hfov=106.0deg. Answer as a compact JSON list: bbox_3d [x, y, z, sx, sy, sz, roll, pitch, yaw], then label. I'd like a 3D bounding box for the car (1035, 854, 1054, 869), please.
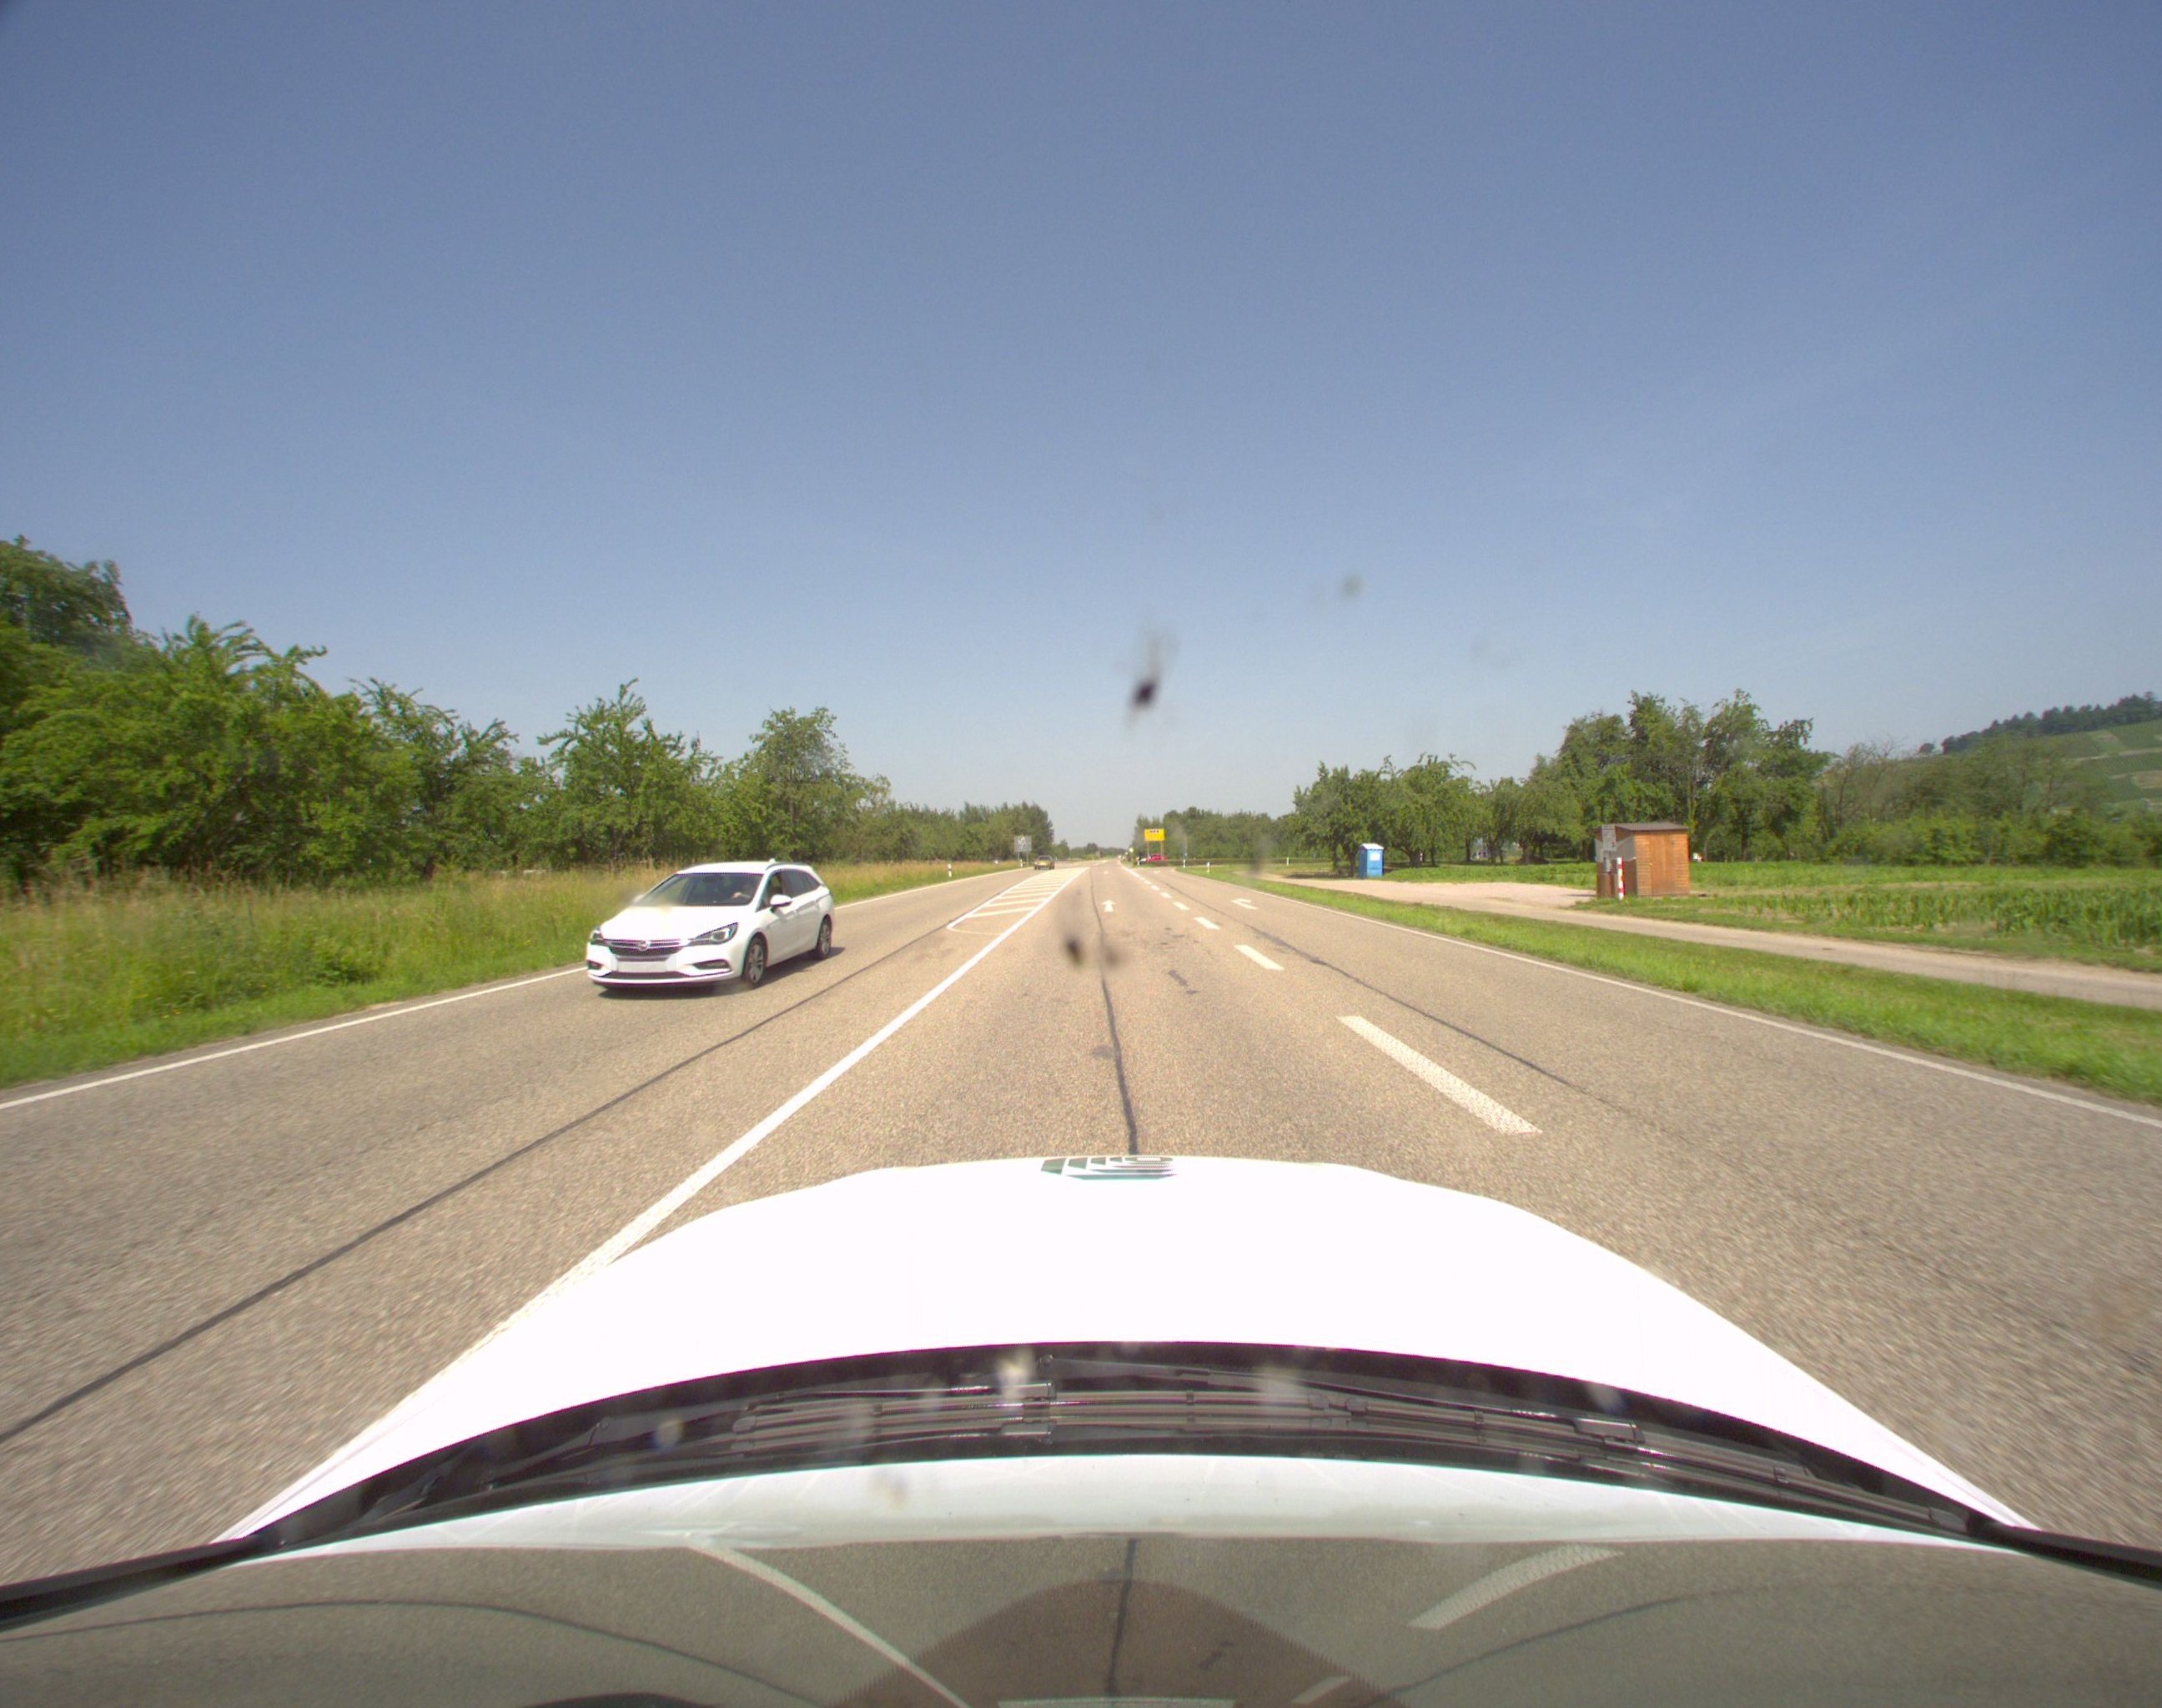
[{"bbox_3d":[-3.806,0.776,84.978,1.691,1.416,3.827,-1,0,2],"label":"car"}]

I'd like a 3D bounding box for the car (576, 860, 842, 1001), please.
[{"bbox_3d":[-4.641,0.844,10.907,1.670,1.494,4.136,0,0,0],"label":"car"}]

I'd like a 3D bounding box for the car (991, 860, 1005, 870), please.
[{"bbox_3d":[-12.118,1.603,119.175,1.700,1.423,4.039,-1,-1,-2],"label":"car"}]

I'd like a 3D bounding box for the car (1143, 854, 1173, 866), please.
[{"bbox_3d":[10.338,0.806,109.824,3.747,1.493,1.663,0,-1,-16],"label":"car"}]
